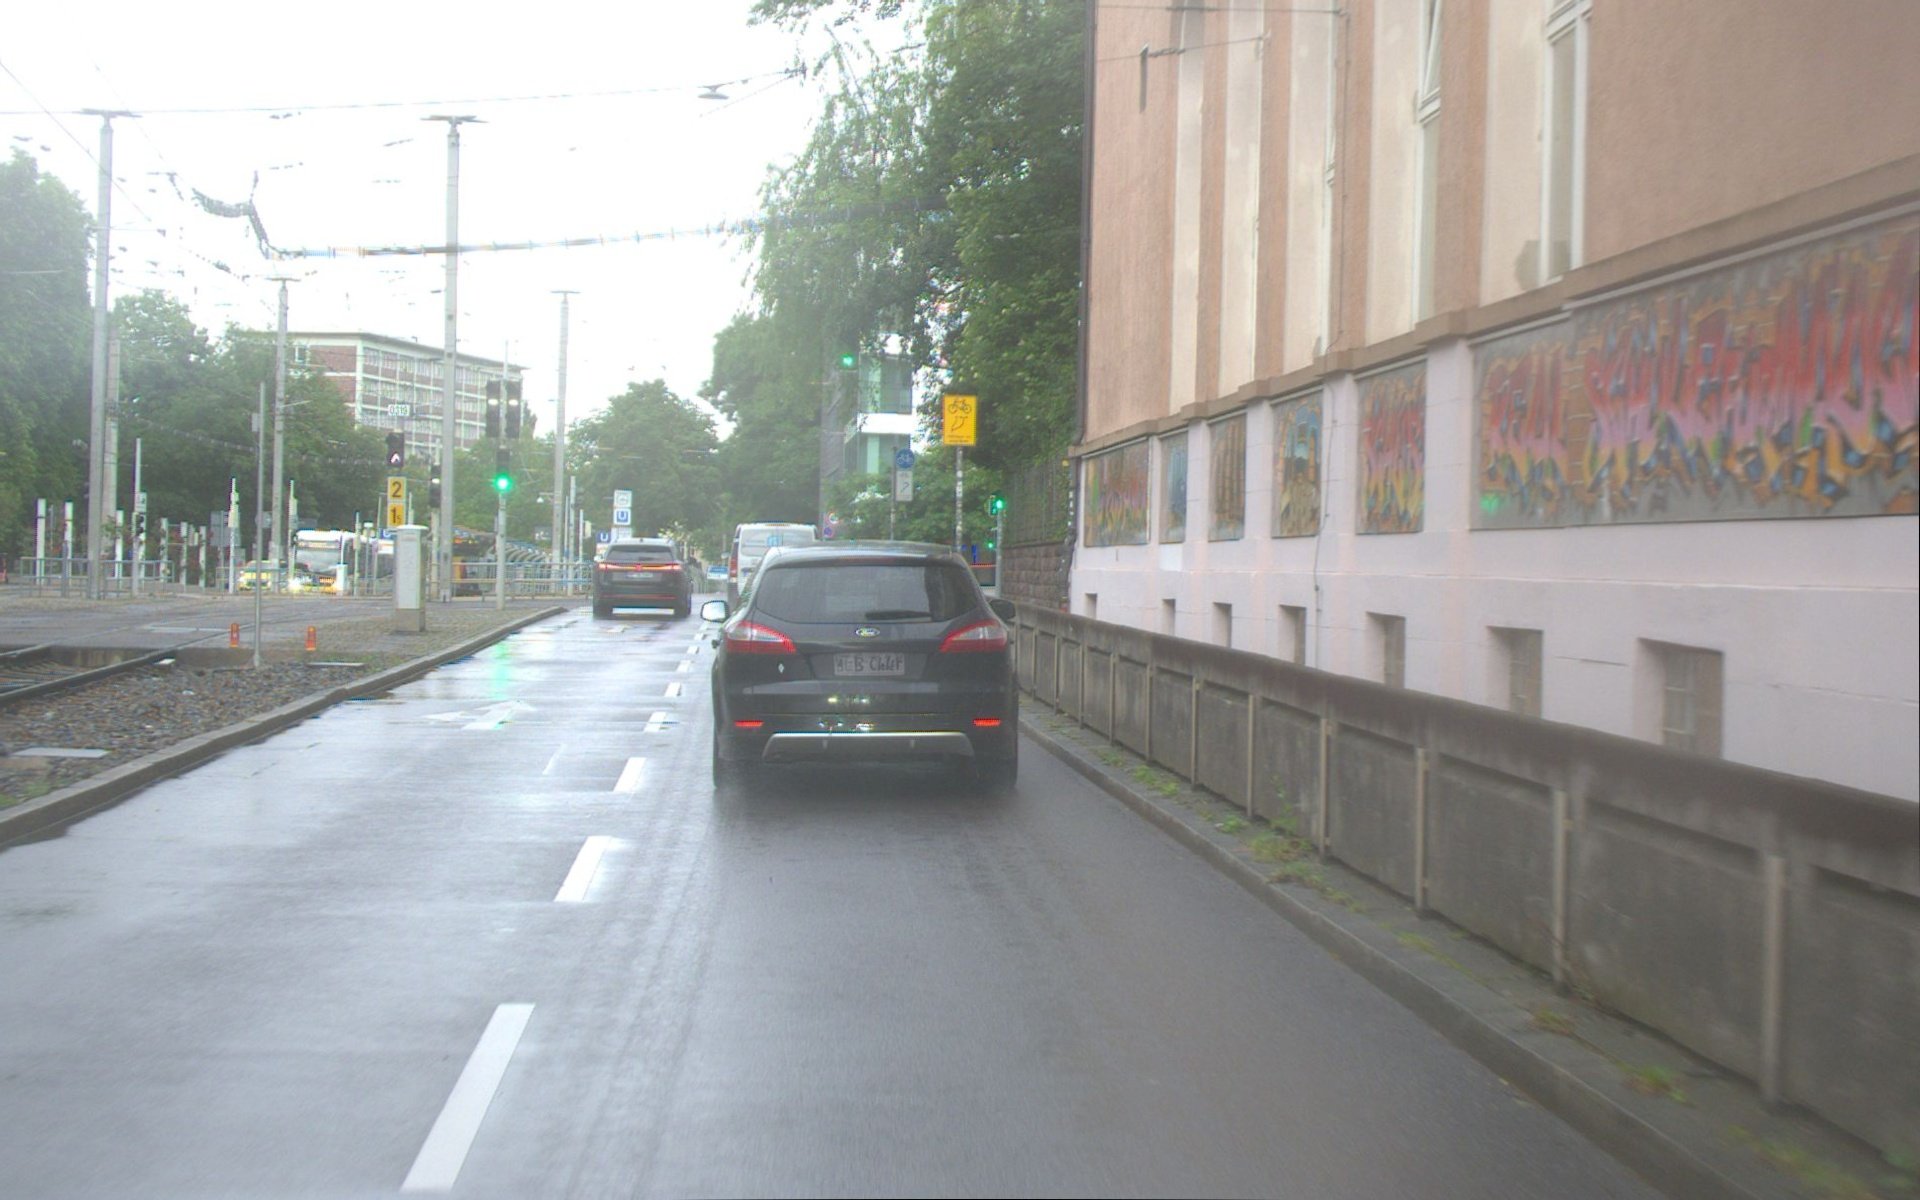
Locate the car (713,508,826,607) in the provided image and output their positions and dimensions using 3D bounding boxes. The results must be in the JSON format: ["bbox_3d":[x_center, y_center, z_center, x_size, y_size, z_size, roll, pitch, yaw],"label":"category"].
[{"bbox_3d":[-3.700,-0.853,67.433,2.035,1.833,4.392,1,1,-2],"label":"car"}]

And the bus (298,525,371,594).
[{"bbox_3d":[-30.923,-2.035,170.262,3.076,3.289,12.526,0,1,-8],"label":"bus"}]

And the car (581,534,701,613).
[{"bbox_3d":[-6.250,-0.537,67.826,2.098,1.500,4.732,0,1,-2],"label":"car"}]

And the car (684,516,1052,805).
[{"bbox_3d":[-0.643,0.301,21.551,2.035,1.579,4.393,1,1,-3],"label":"car"}]
